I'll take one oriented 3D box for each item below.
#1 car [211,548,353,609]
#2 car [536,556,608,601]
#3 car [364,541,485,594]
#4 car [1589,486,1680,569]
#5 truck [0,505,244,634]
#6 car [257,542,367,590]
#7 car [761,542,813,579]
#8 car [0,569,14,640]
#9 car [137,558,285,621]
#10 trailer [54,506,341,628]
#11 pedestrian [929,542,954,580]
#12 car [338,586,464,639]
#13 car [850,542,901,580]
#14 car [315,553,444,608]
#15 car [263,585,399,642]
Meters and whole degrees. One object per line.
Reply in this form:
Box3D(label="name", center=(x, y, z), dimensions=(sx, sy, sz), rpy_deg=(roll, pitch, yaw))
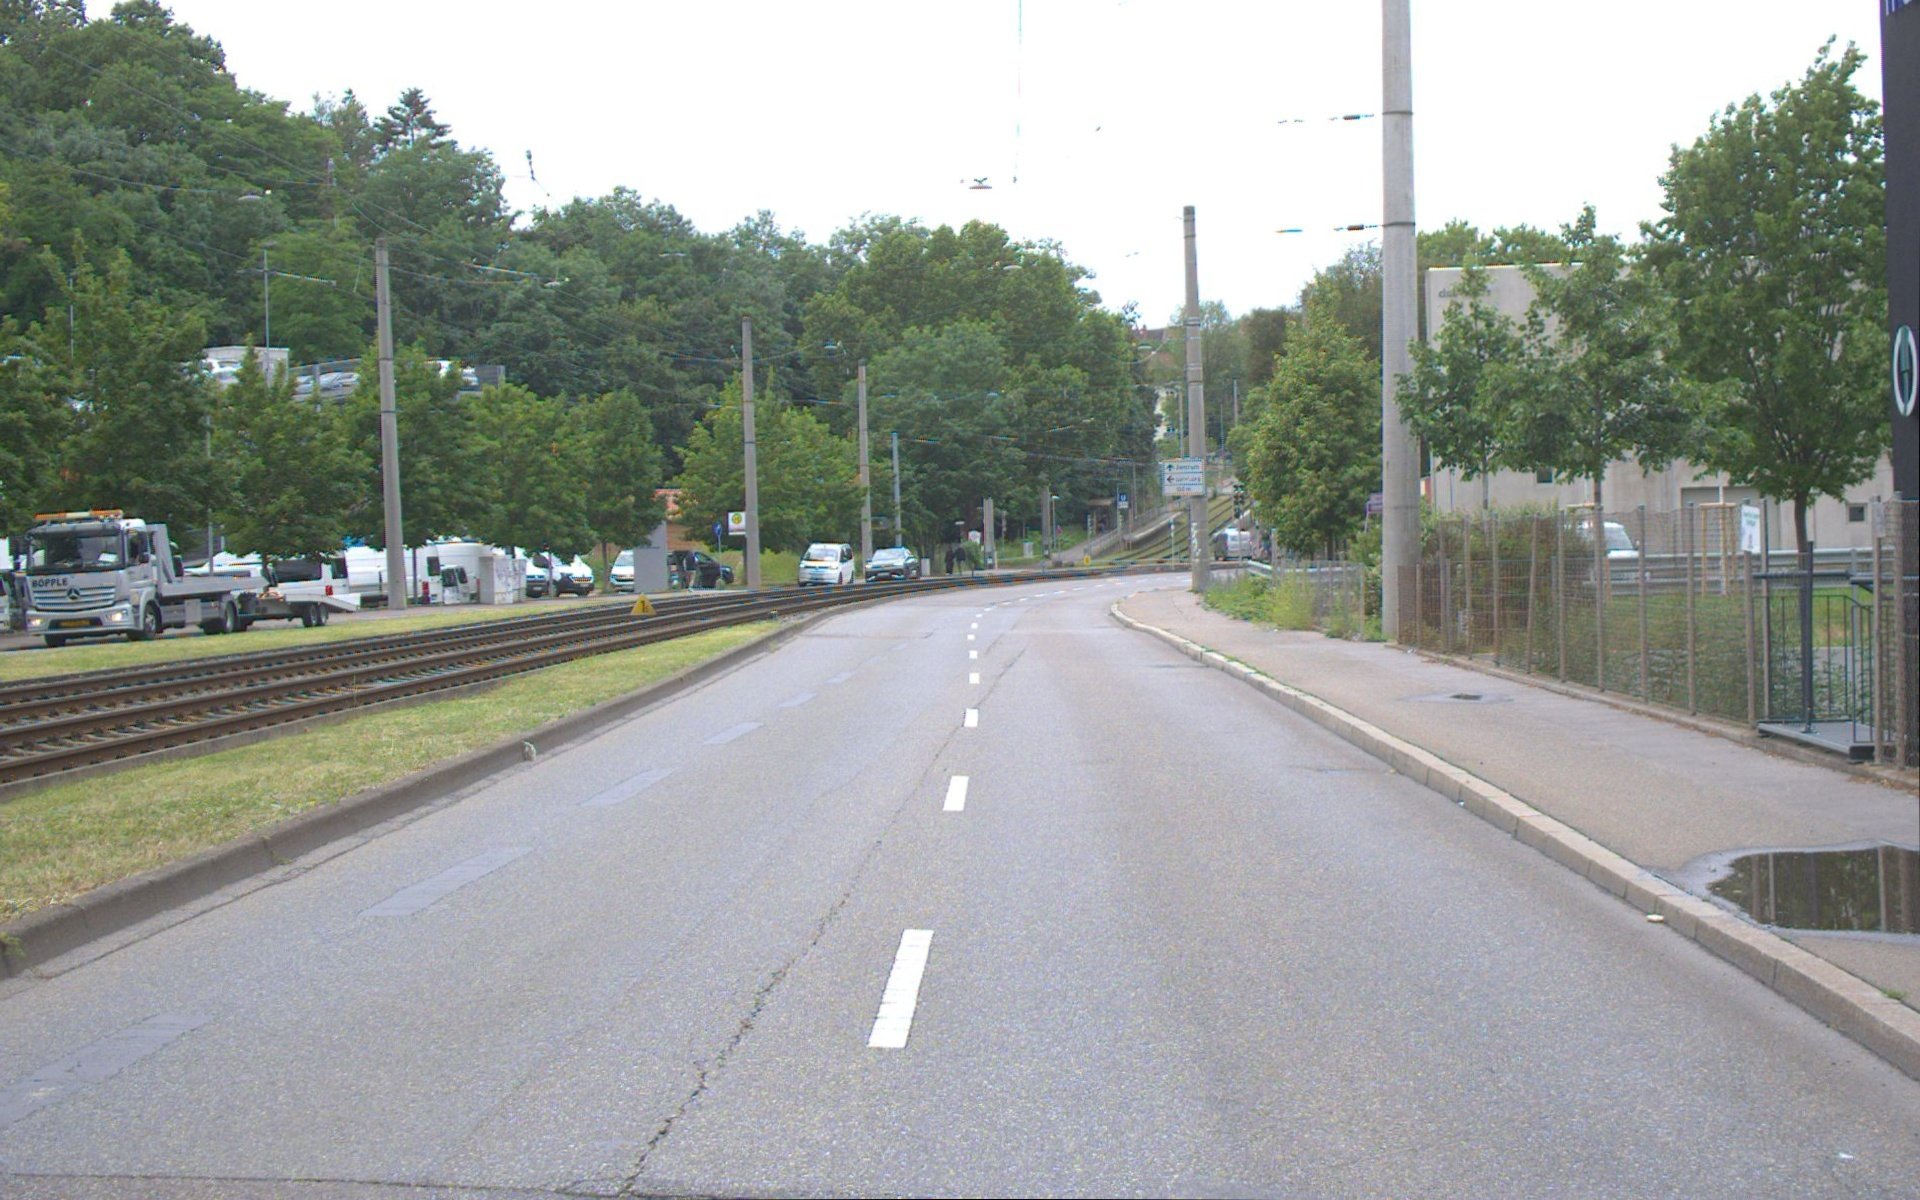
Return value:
Box3D(label="car", center=(-21.228, -0.658, 107.678), dimensions=(3.988, 1.700, 1.833), rpy_deg=(-2, -3, 8))
Box3D(label="car", center=(-16.753, -0.911, 148.509), dimensions=(1.829, 1.700, 4.140), rpy_deg=(-2, -3, 12))
Box3D(label="car", center=(-19.570, -1.175, 125.723), dimensions=(3.988, 1.700, 1.833), rpy_deg=(-2, -3, 8))
Box3D(label="car", center=(14.600, -1.563, 74.527), dimensions=(1.828, 1.700, 3.804), rpy_deg=(-2, 1, 11))
Box3D(label="truck", center=(-17.986, -0.682, 73.640), dimensions=(2.884, 2.580, 6.909), rpy_deg=(-1, 1, 9))
Box3D(label="car", center=(-25.508, -1.332, 135.416), dimensions=(4.128, 1.700, 1.834), rpy_deg=(-1, -3, -6))
Box3D(label="car", center=(-7.862, -1.812, 156.465), dimensions=(1.993, 1.634, 4.000), rpy_deg=(-1, 1, 2))
Box3D(label="car", center=(-25.354, 0.175, 83.732), dimensions=(3.988, 1.700, 1.833), rpy_deg=(-2, 1, 8))
Box3D(label="car", center=(-22.649, -0.298, 104.042), dimensions=(3.988, 1.700, 1.833), rpy_deg=(-2, -3, 8))
Box3D(label="trailer", center=(-17.229, -0.800, 78.547), dimensions=(2.893, 2.574, 9.991), rpy_deg=(-1, 1, 9))
Box3D(label="pedestrian", center=(-1.034, -2.190, 191.994), dimensions=(1.014, 2.007, 1.144), rpy_deg=(-2, -3, 17))
Box3D(label="car", center=(-19.644, 0.451, 120.798), dimensions=(3.988, 1.700, 1.833), rpy_deg=(-2, -3, 8))
Box3D(label="car", center=(-3.672, -1.725, 150.760), dimensions=(1.993, 1.634, 4.000), rpy_deg=(-1, 1, 2))
Box3D(label="car", center=(-19.938, -0.663, 118.167), dimensions=(3.988, 1.700, 1.833), rpy_deg=(-2, -3, 8))
Box3D(label="car", center=(-20.644, 0.439, 112.925), dimensions=(3.988, 1.700, 1.833), rpy_deg=(-2, 2, 8))
